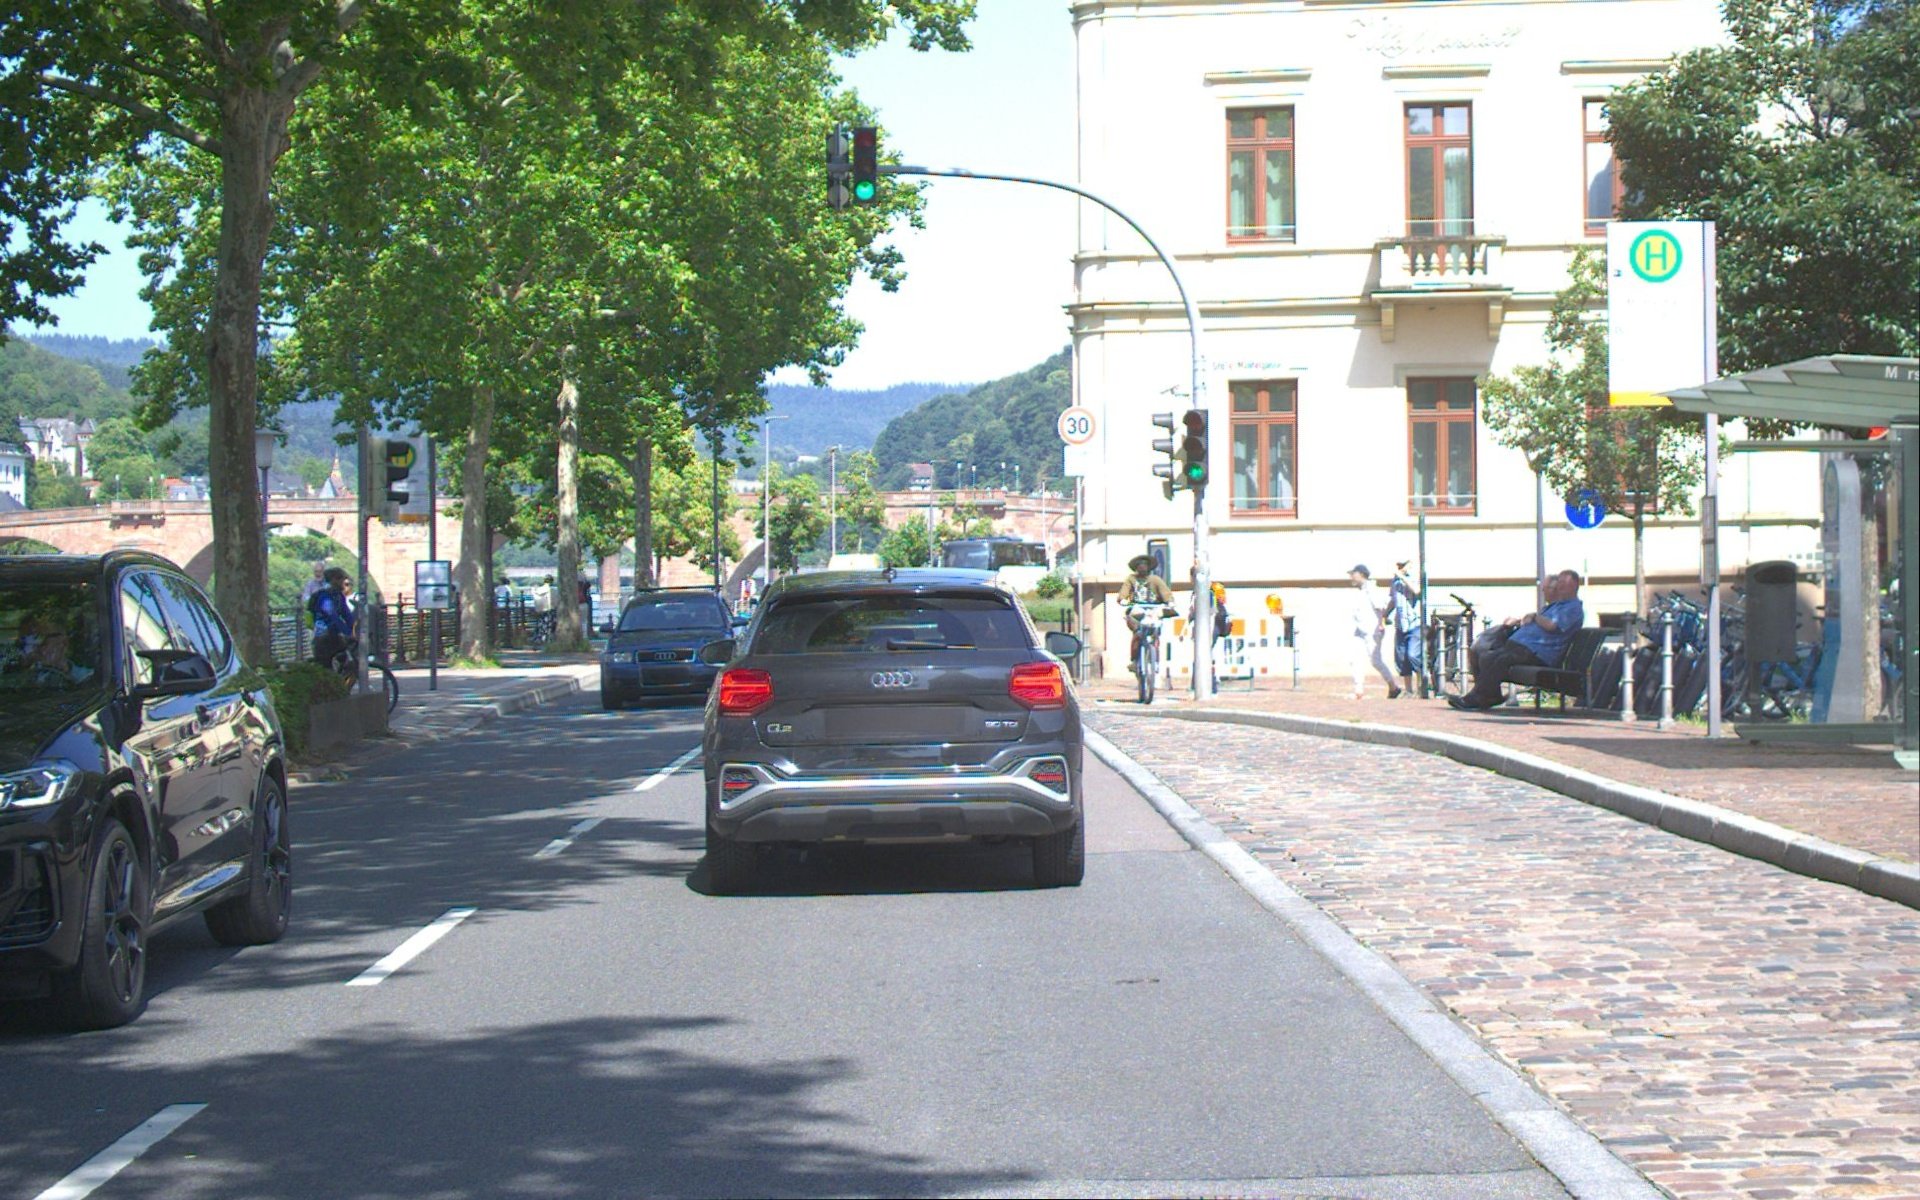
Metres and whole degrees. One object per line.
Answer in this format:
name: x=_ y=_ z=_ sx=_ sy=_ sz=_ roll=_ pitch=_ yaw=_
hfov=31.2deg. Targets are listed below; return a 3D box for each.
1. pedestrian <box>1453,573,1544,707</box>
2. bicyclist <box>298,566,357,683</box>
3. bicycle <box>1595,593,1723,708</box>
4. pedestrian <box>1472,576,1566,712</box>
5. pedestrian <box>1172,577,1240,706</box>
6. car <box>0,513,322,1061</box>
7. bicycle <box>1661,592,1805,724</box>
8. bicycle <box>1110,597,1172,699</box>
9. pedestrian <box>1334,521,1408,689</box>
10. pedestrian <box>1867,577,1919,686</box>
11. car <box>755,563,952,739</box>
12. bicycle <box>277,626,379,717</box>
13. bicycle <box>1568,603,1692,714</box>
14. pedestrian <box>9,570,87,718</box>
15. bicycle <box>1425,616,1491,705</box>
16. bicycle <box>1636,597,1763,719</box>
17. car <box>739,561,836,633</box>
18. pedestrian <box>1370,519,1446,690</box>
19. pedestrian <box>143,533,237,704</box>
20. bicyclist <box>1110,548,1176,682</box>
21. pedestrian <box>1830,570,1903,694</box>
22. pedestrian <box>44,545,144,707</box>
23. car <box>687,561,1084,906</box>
pedestrian: x=5.019 y=0.370 z=32.078 sx=0.663 sy=1.227 sz=0.641 roll=2 pitch=0 yaw=-6
bicyclist: x=-7.186 y=0.276 z=39.065 sx=0.566 sy=1.307 sz=0.552 roll=2 pitch=0 yaw=-4
bicycle: x=6.464 y=0.469 z=31.803 sx=1.201 sy=1.032 sz=0.179 roll=2 pitch=0 yaw=-18
pedestrian: x=5.092 y=0.395 z=31.318 sx=0.663 sy=1.207 sz=0.641 roll=2 pitch=0 yaw=-6
pedestrian: x=2.907 y=0.492 z=40.649 sx=0.693 sy=1.495 sz=0.514 roll=2 pitch=0 yaw=-4
car: x=-3.810 y=0.640 z=13.062 sx=1.812 sy=1.719 sz=4.422 roll=-5 pitch=1 yaw=0
bicycle: x=6.824 y=0.513 z=30.337 sx=1.303 sy=1.124 sz=0.179 roll=2 pitch=0 yaw=-18
bicycle: x=1.990 y=0.519 z=37.960 sx=0.437 sy=1.082 sz=1.677 roll=2 pitch=0 yaw=-4
pedestrian: x=4.990 y=0.061 z=41.726 sx=0.640 sy=2.007 sz=0.664 roll=2 pitch=-1 yaw=29
pedestrian: x=17.492 y=0.588 z=64.204 sx=0.839 sy=2.007 sz=0.738 roll=2 pitch=0 yaw=0
car: x=-1.004 y=0.463 z=33.840 sx=1.793 sy=1.589 sz=3.399 roll=2 pitch=0 yaw=0
bicycle: x=-7.185 y=0.809 z=39.079 sx=1.093 sy=1.003 sz=0.304 roll=2 pitch=-1 yaw=-6
bicycle: x=6.329 y=0.553 z=32.471 sx=1.184 sy=1.012 sz=0.179 roll=2 pitch=0 yaw=-18
pedestrian: x=-10.127 y=0.488 z=38.191 sx=0.625 sy=1.613 sz=0.585 roll=2 pitch=0 yaw=4
bicycle: x=5.561 y=0.670 z=38.436 sx=0.298 sy=0.960 sz=1.188 roll=2 pitch=0 yaw=-13
bicycle: x=6.681 y=0.523 z=31.057 sx=1.157 sy=1.066 sz=0.179 roll=2 pitch=0 yaw=-18
car: x=-4.103 y=-0.066 z=82.446 sx=1.993 sy=1.620 sz=4.000 roll=2 pitch=0 yaw=1
pedestrian: x=5.327 y=0.053 z=40.849 sx=0.640 sy=2.007 sz=0.664 roll=2 pitch=-1 yaw=29
pedestrian: x=-9.231 y=0.220 z=41.217 sx=0.911 sy=2.007 sz=0.585 roll=2 pitch=0 yaw=4
bicyclist: x=2.019 y=0.168 z=37.896 sx=0.605 sy=1.445 sz=0.591 roll=2 pitch=0 yaw=-5
pedestrian: x=15.024 y=0.525 z=56.969 sx=0.944 sy=2.007 sz=0.807 roll=2 pitch=0 yaw=0
pedestrian: x=-9.880 y=0.299 z=39.233 sx=0.911 sy=1.805 sz=0.585 roll=2 pitch=-1 yaw=4
car: x=-0.341 y=0.576 z=17.173 sx=1.743 sy=1.504 sz=3.647 roll=-1 pitch=1 yaw=0
